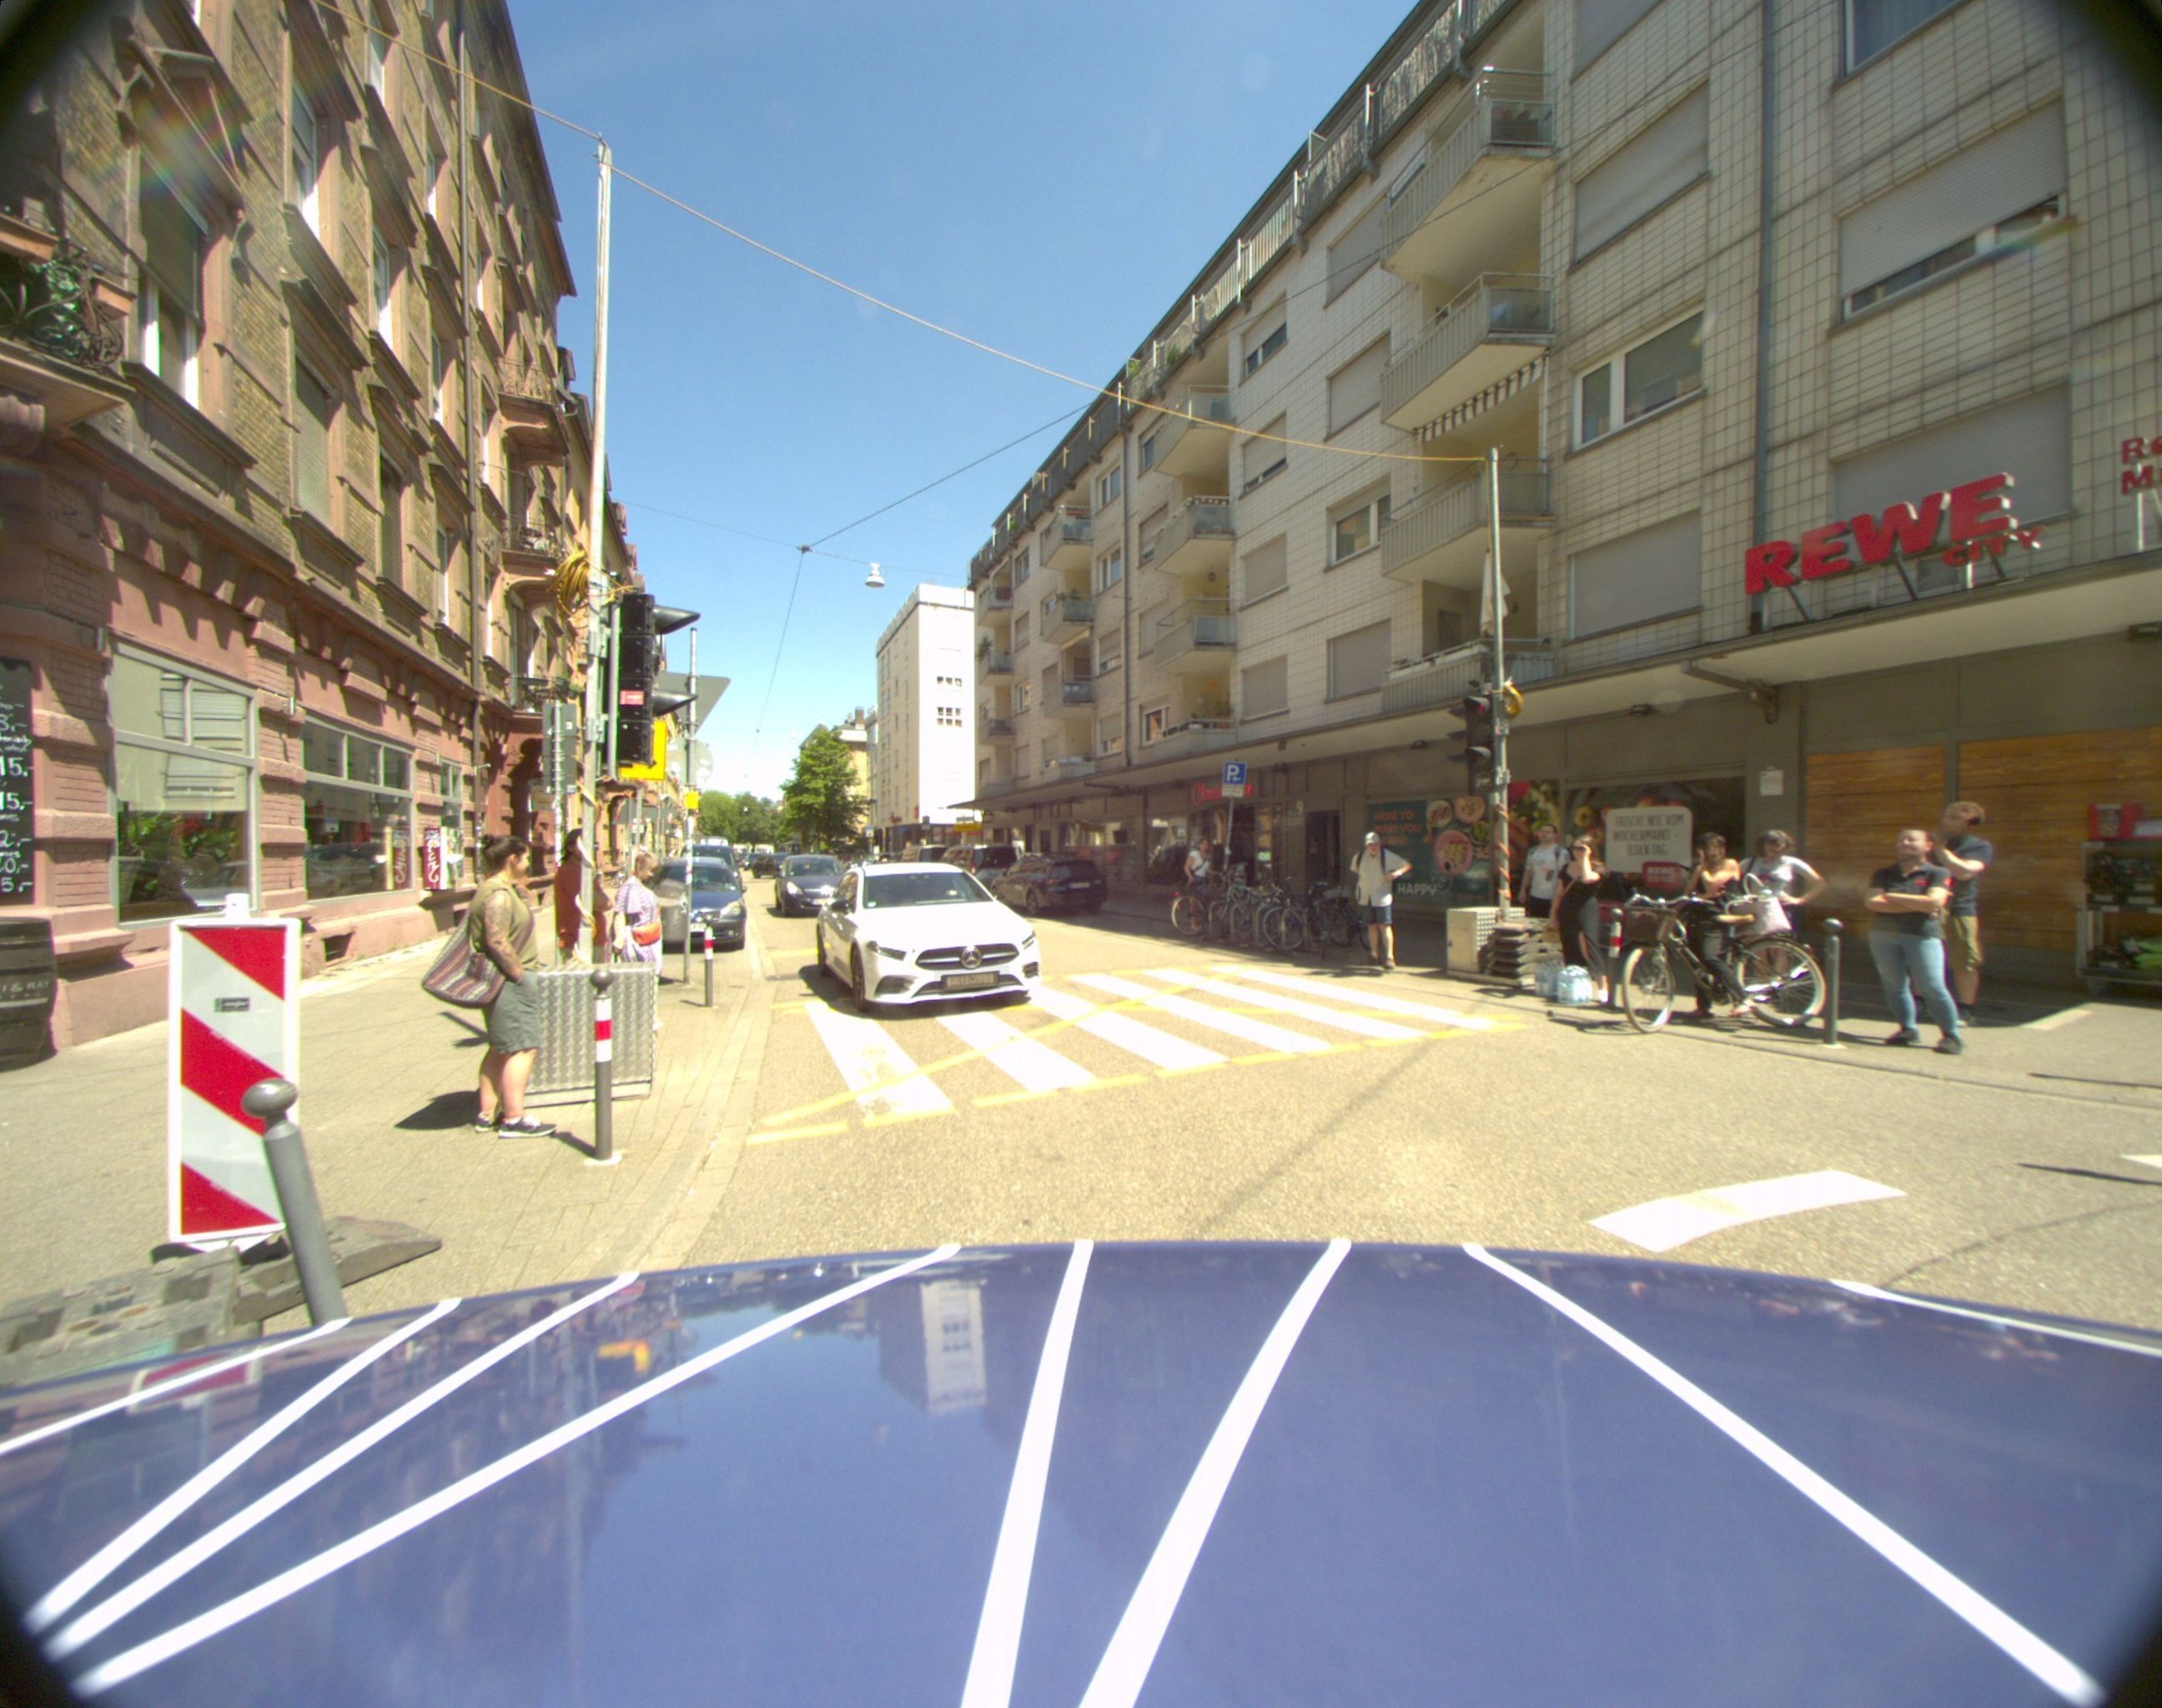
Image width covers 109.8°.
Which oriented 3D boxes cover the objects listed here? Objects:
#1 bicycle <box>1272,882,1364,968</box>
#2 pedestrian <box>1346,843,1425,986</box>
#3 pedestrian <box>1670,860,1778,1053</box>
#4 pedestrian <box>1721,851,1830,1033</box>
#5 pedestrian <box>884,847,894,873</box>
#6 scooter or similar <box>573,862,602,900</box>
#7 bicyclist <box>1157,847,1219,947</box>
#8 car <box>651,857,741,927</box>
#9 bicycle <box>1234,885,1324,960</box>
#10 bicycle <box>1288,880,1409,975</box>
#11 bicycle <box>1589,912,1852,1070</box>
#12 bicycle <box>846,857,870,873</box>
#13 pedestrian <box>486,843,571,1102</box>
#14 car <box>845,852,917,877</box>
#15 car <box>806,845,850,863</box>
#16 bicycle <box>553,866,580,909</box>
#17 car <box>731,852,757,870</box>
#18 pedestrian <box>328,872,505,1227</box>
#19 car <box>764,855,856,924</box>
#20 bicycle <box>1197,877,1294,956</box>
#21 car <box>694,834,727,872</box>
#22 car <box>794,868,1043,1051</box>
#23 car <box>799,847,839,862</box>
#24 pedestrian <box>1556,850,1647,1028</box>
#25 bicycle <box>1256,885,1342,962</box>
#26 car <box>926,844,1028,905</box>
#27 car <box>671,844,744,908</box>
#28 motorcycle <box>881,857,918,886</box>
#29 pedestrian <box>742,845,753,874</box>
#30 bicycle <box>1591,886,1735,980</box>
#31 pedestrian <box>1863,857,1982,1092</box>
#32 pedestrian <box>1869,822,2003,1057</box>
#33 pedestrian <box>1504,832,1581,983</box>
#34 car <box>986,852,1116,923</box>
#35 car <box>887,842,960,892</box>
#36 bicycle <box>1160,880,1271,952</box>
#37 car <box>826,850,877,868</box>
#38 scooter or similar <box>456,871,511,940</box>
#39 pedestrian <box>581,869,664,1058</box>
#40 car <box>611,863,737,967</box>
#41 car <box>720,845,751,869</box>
[{"bbox_3d":[3.573,1.038,11.405,1.526,1.111,0.334,-3,3,-29],"label":"bicycle"},{"bbox_3d":[3.814,0.718,9.526,0.659,1.717,0.631,-1,1,-27],"label":"pedestrian"},{"bbox_3d":[5.445,0.846,6.451,0.497,1.557,0.459,-2,1,1],"label":"pedestrian"},{"bbox_3d":[6.549,0.784,7.175,0.511,1.623,0.598,-1,1,-27],"label":"pedestrian"},{"bbox_3d":[-15.863,0.472,62.861,0.608,2.113,0.495,0,1,10],"label":"pedestrian"},{"bbox_3d":[-15.860,0.840,24.469,0.478,1.146,2.144,-1,1,-25],"label":"scooter or similar"},{"bbox_3d":[1.902,0.738,13.604,0.626,1.696,0.976,-2,2,-27],"label":"bicyclist"},{"bbox_3d":[-9.345,0.820,18.490,1.733,1.424,4.475,0,0,-27],"label":"car"},{"bbox_3d":[3.155,1.066,12.087,1.501,1.025,0.397,-3,3,-29],"label":"bicycle"},{"bbox_3d":[3.809,1.000,10.754,1.806,1.116,0.576,-3,3,-31],"label":"bicycle"},{"bbox_3d":[5.158,1.085,6.160,1.810,1.113,0.467,-2,1,-4],"label":"bicycle"},{"bbox_3d":[-15.716,0.756,53.536,1.612,1.084,0.370,-3,2,-20],"label":"bicycle"},{"bbox_3d":[-3.708,0.761,5.122,0.334,1.666,0.401,-1,1,-19],"label":"pedestrian"},{"bbox_3d":[-11.879,0.592,45.094,3.896,1.417,1.811,-1,1,-23],"label":"car"},{"bbox_3d":[-25.011,-0.055,75.106,3.893,1.737,1.648,-1,1,-26],"label":"car"},{"bbox_3d":[-14.400,0.915,21.293,0.355,1.097,1.752,-1,1,-25],"label":"bicycle"},{"bbox_3d":[-27.470,0.535,61.864,1.752,1.382,3.991,-1,1,-26],"label":"car"},{"bbox_3d":[-3.149,0.871,3.643,0.461,1.551,0.478,-1,1,-19],"label":"pedestrian"},{"bbox_3d":[-7.010,0.804,19.440,1.784,1.460,3.991,-3,2,-25],"label":"car"},{"bbox_3d":[2.735,1.012,12.609,1.591,1.133,0.525,-3,2,-29],"label":"bicycle"},{"bbox_3d":[-28.435,-0.115,58.440,2.071,2.687,5.028,-3,2,-25],"label":"car"},{"bbox_3d":[-2.107,0.934,8.707,1.818,1.417,4.232,-1,1,-26],"label":"car"},{"bbox_3d":[-27.581,0.028,80.001,3.893,1.487,1.648,-1,1,-26],"label":"car"},{"bbox_3d":[4.990,0.777,7.296,0.543,1.623,0.510,-1,1,-27],"label":"pedestrian"},{"bbox_3d":[3.385,1.056,11.750,1.454,1.030,0.334,-3,3,-29],"label":"bicycle"},{"bbox_3d":[-3.577,0.597,25.296,1.797,1.801,4.688,-2,1,-28],"label":"car"},{"bbox_3d":[-11.410,0.594,23.180,1.833,1.756,4.328,0,0,-27],"label":"car"},{"bbox_3d":[-8.286,0.798,34.685,1.554,1.277,0.393,-1,3,7],"label":"motorcycle"},{"bbox_3d":[-22.380,0.353,50.979,0.636,1.903,0.369,-1,1,-25],"label":"pedestrian"},{"bbox_3d":[7.417,0.975,9.733,0.322,1.080,1.428,-2,1,-44],"label":"bicycle"},{"bbox_3d":[6.097,0.830,5.515,0.391,1.608,0.474,-1,1,-27],"label":"pedestrian"},{"bbox_3d":[6.964,0.652,6.201,0.511,1.809,0.598,-1,1,-27],"label":"pedestrian"},{"bbox_3d":[5.572,0.618,9.190,0.511,1.760,0.598,-1,1,-27],"label":"pedestrian"},{"bbox_3d":[-0.905,0.744,19.222,1.677,1.516,4.454,-2,1,-25],"label":"car"},{"bbox_3d":[-6.533,0.467,31.087,1.797,1.818,4.889,-2,1,-25],"label":"car"},{"bbox_3d":[2.356,1.039,13.180,1.943,1.085,0.603,-2,0,-31],"label":"bicycle"},{"bbox_3d":[-19.320,0.398,63.949,3.893,1.520,1.648,-1,1,-26],"label":"car"},{"bbox_3d":[-10.971,0.915,13.980,0.293,1.170,1.270,-1,1,-16],"label":"scooter or similar"},{"bbox_3d":[-3.899,0.904,6.487,0.495,1.534,0.435,2,1,-19],"label":"pedestrian"},{"bbox_3d":[-6.757,0.900,12.862,1.635,1.424,3.652,1,0,-25],"label":"car"},{"bbox_3d":[-24.199,0.172,53.160,1.685,1.528,3.990,-2,1,-28],"label":"car"}]
